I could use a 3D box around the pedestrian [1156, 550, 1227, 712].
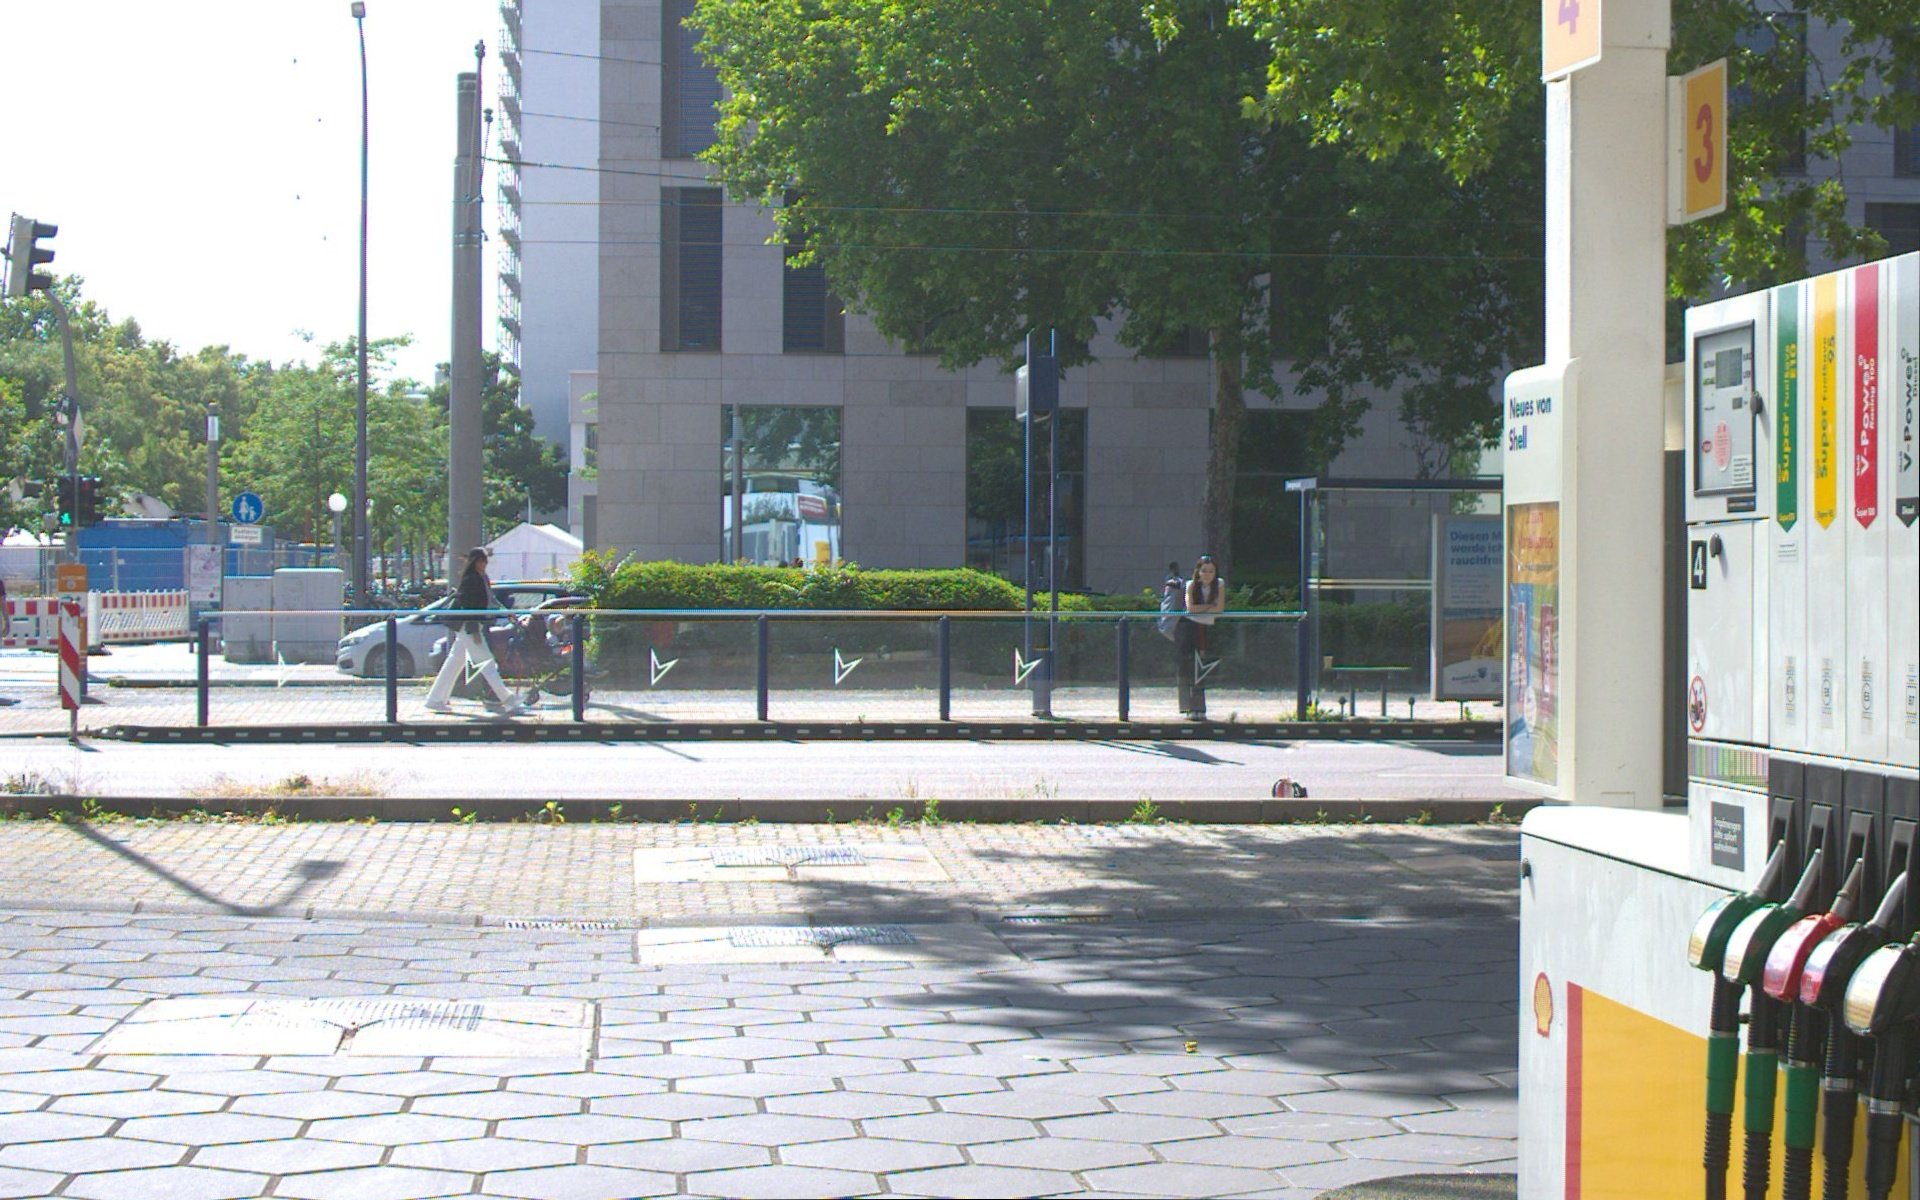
[{"bbox_3d":[2.301,0.301,34.269,0.584,1.586,0.670,0,2,-6],"label":"pedestrian"}]

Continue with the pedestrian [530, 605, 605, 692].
[{"bbox_3d":[-4.014,0.492,35.182,0.690,0.877,0.503,1,1,3],"label":"pedestrian"}]

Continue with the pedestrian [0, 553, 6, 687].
[{"bbox_3d":[-11.295,0.223,39.227,0.650,1.535,0.503,1,0,4],"label":"pedestrian"}]

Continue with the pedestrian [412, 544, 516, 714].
[{"bbox_3d":[-4.926,0.283,34.180,0.932,1.677,0.503,1,0,4],"label":"pedestrian"}]

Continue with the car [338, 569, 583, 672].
[{"bbox_3d":[-7.746,0.312,53.250,3.681,1.547,1.592,0,1,-11],"label":"car"}]

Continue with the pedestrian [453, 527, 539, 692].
[{"bbox_3d":[-4.748,0.095,35.213,0.777,1.677,0.503,1,0,4],"label":"pedestrian"}]

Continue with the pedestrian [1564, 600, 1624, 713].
[{"bbox_3d":[6.429,0.569,34.868,0.499,1.134,0.524,1,0,1],"label":"pedestrian"}]

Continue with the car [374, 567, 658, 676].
[{"bbox_3d":[-6.477,0.305,49.977,3.986,1.547,1.704,0,1,-11],"label":"car"}]
